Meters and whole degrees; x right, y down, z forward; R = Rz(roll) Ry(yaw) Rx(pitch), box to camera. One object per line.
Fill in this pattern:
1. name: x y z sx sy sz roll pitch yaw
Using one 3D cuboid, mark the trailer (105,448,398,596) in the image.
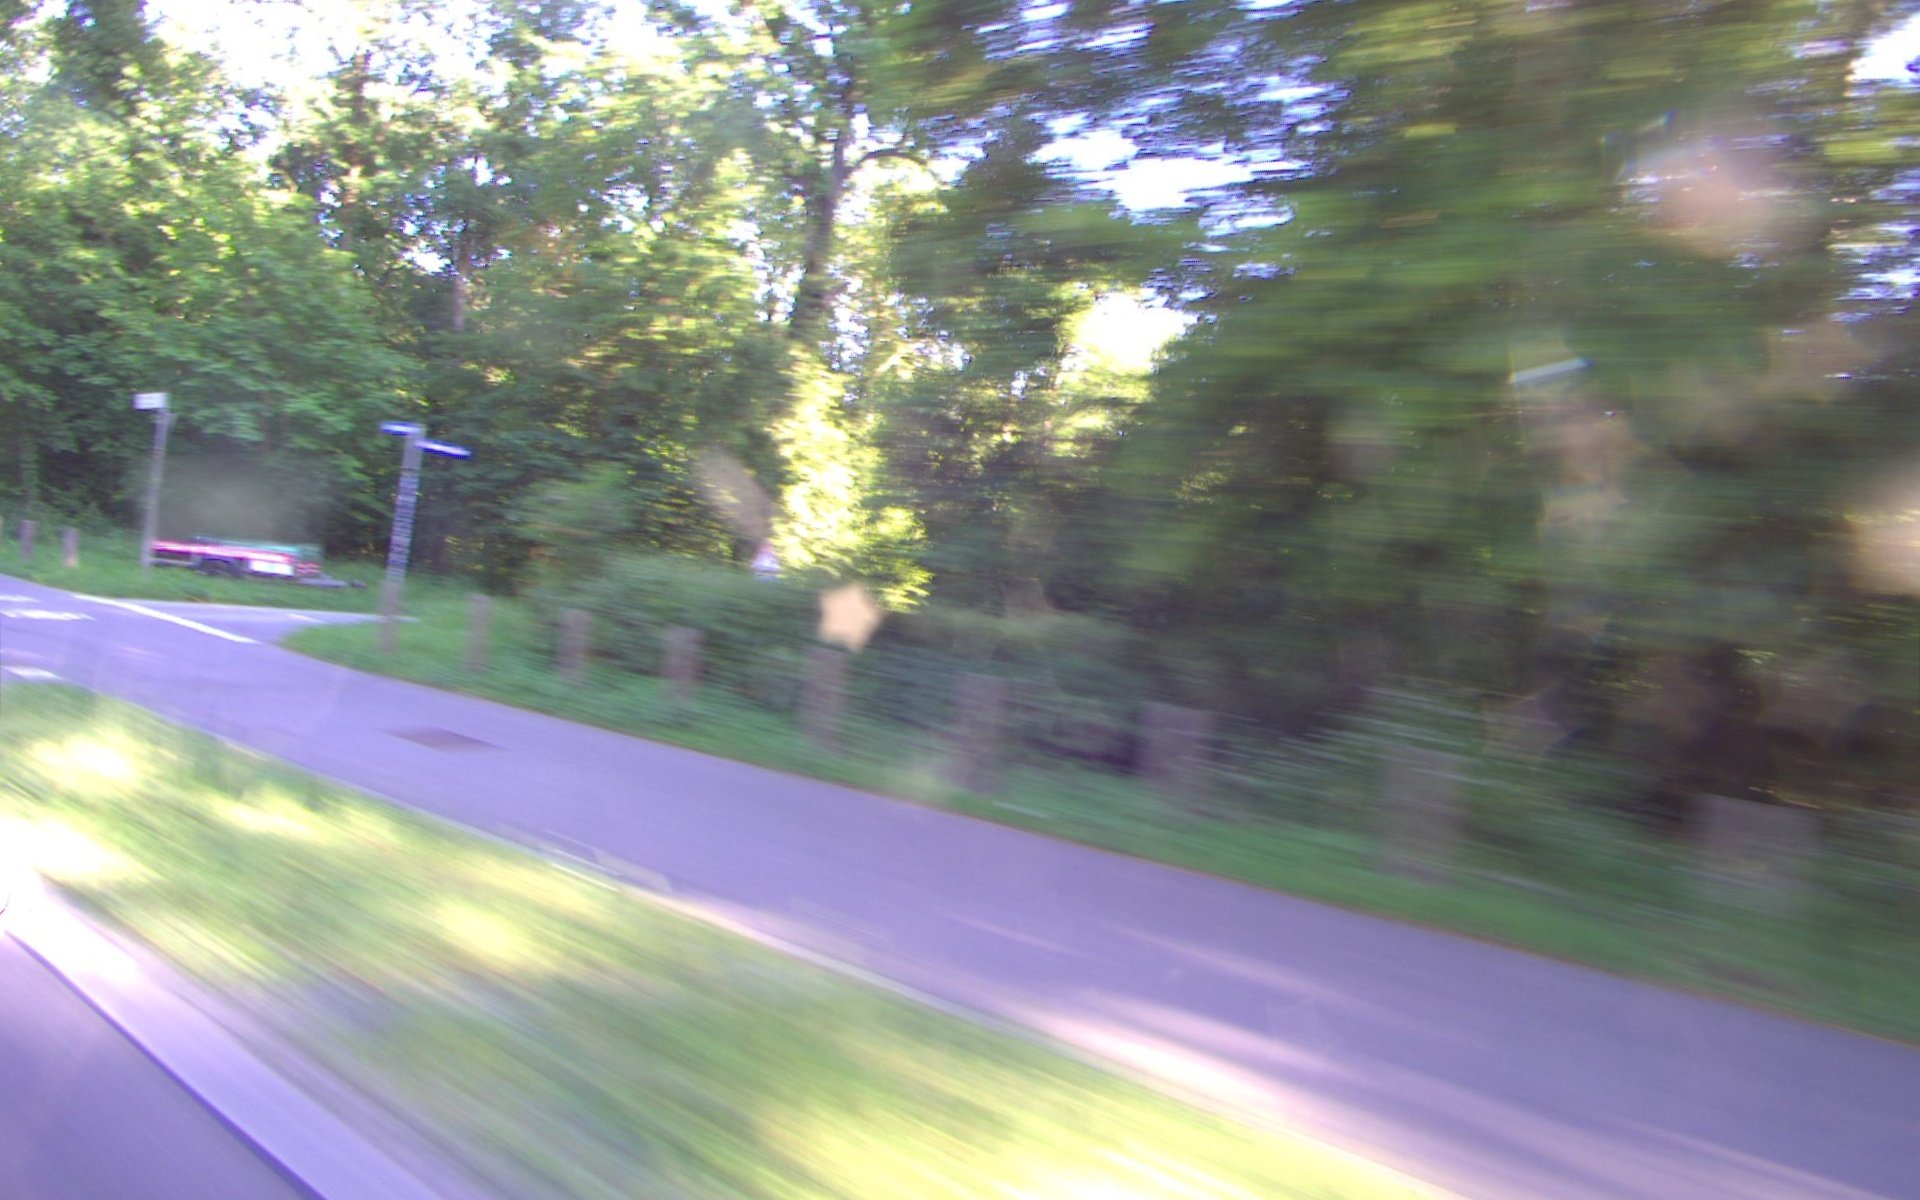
1. trailer: -14.002 -1.472 20.210 4.169 2.044 1.992 10 -1 -18
